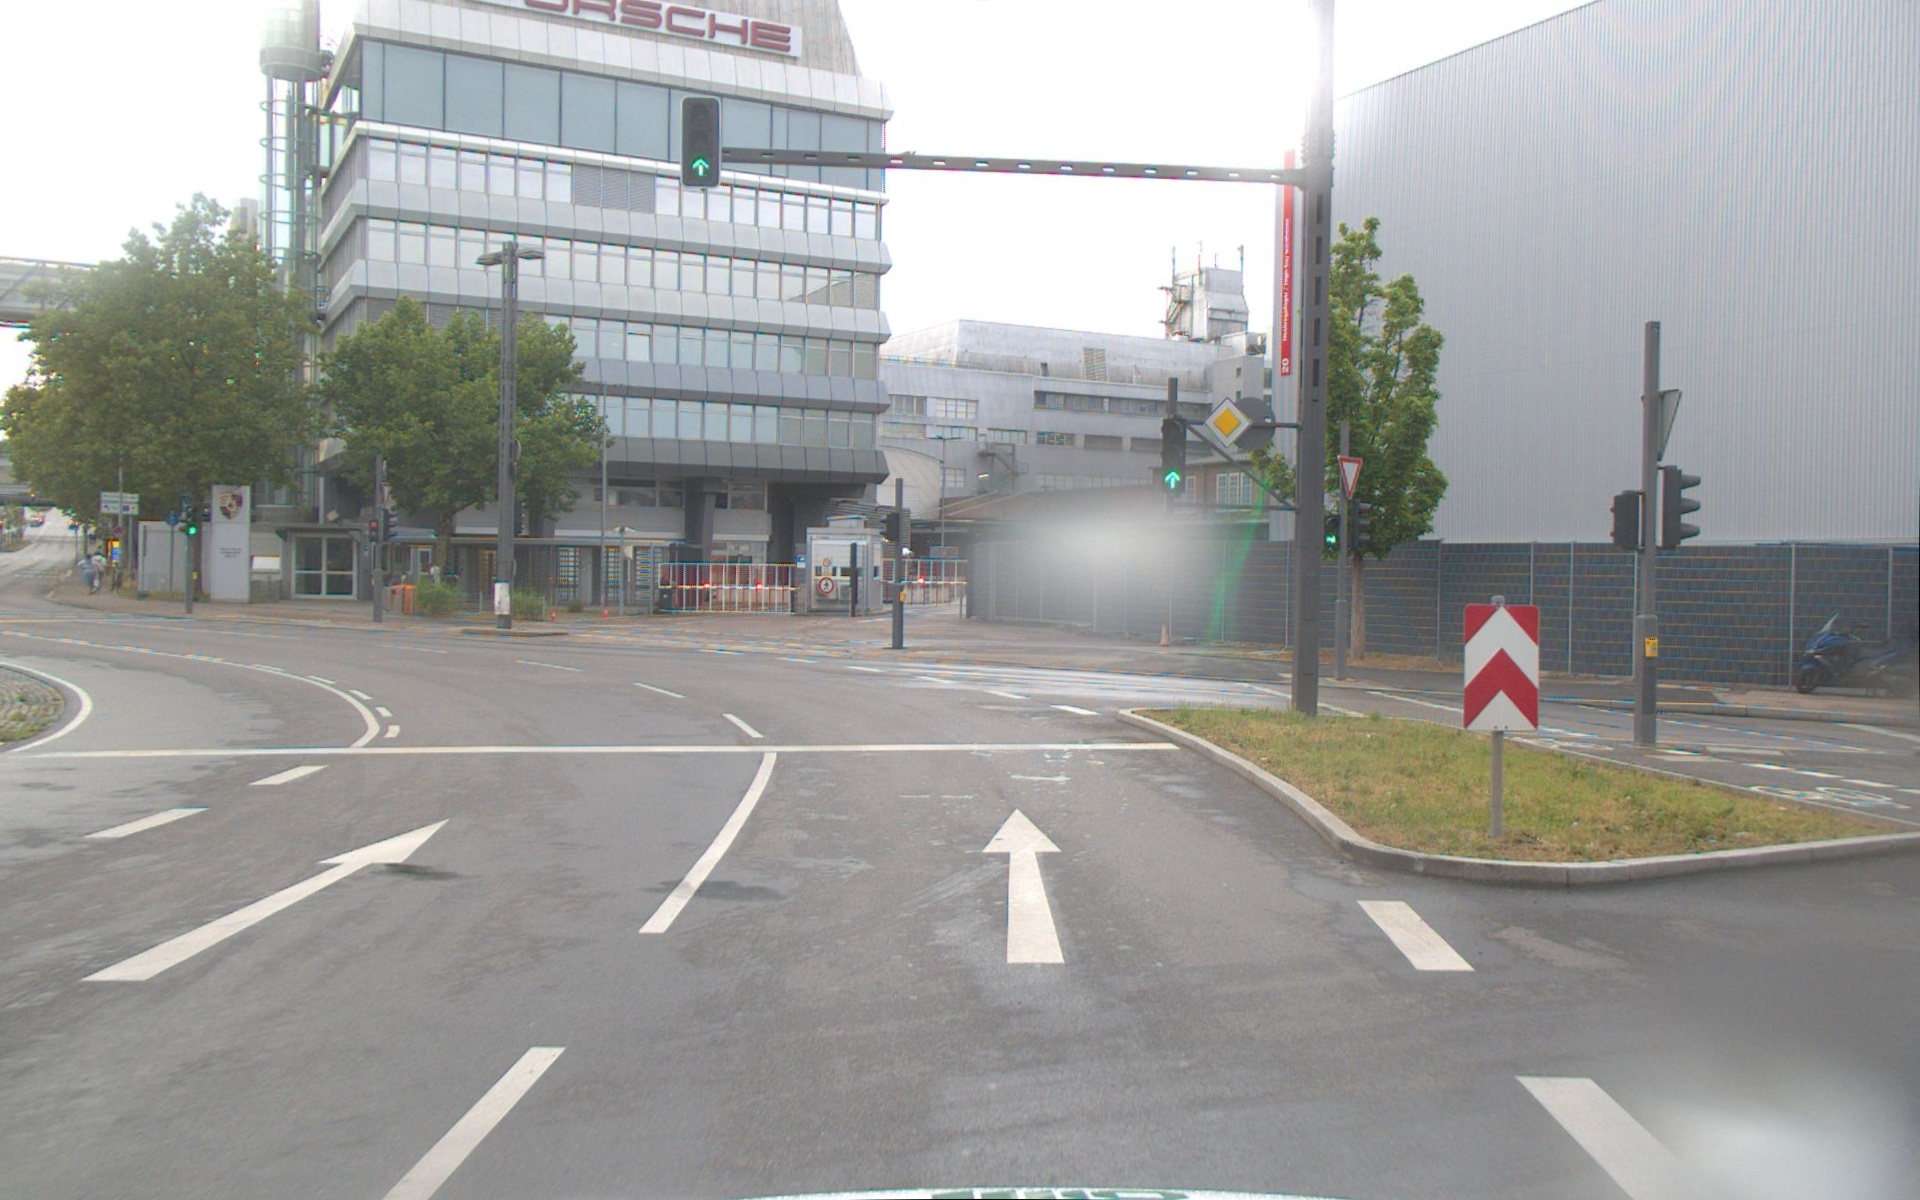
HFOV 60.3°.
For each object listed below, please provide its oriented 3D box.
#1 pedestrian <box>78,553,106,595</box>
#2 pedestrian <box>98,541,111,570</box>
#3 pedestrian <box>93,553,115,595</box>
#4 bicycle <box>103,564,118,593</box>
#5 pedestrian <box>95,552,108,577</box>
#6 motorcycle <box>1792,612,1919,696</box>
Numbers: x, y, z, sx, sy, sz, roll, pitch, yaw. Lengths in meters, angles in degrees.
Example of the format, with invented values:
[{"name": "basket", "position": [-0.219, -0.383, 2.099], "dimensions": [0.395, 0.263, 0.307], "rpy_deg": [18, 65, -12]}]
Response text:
[{"name": "pedestrian", "position": [-32.750, -0.991, 62.404], "dimensions": [0.820, 1.547, 0.836], "rpy_deg": [0, 1, -22]}, {"name": "pedestrian", "position": [-55.615, -2.891, 107.485], "dimensions": [0.703, 1.771, 0.753], "rpy_deg": [2, -2, -28]}, {"name": "pedestrian", "position": [-33.277, -1.025, 64.309], "dimensions": [0.699, 1.619, 0.834], "rpy_deg": [0, 1, -24]}, {"name": "bicycle", "position": [-34.422, -0.893, 66.991], "dimensions": [0.338, 1.138, 1.950], "rpy_deg": [0, 1, -33]}, {"name": "pedestrian", "position": [-71.398, -2.938, 137.560], "dimensions": [0.751, 2.049, 0.690], "rpy_deg": [1, 0, -11]}, {"name": "motorcycle", "position": [15.535, 0.918, 28.435], "dimensions": [2.049, 1.333, 0.656], "rpy_deg": [2, 1, 11]}]
